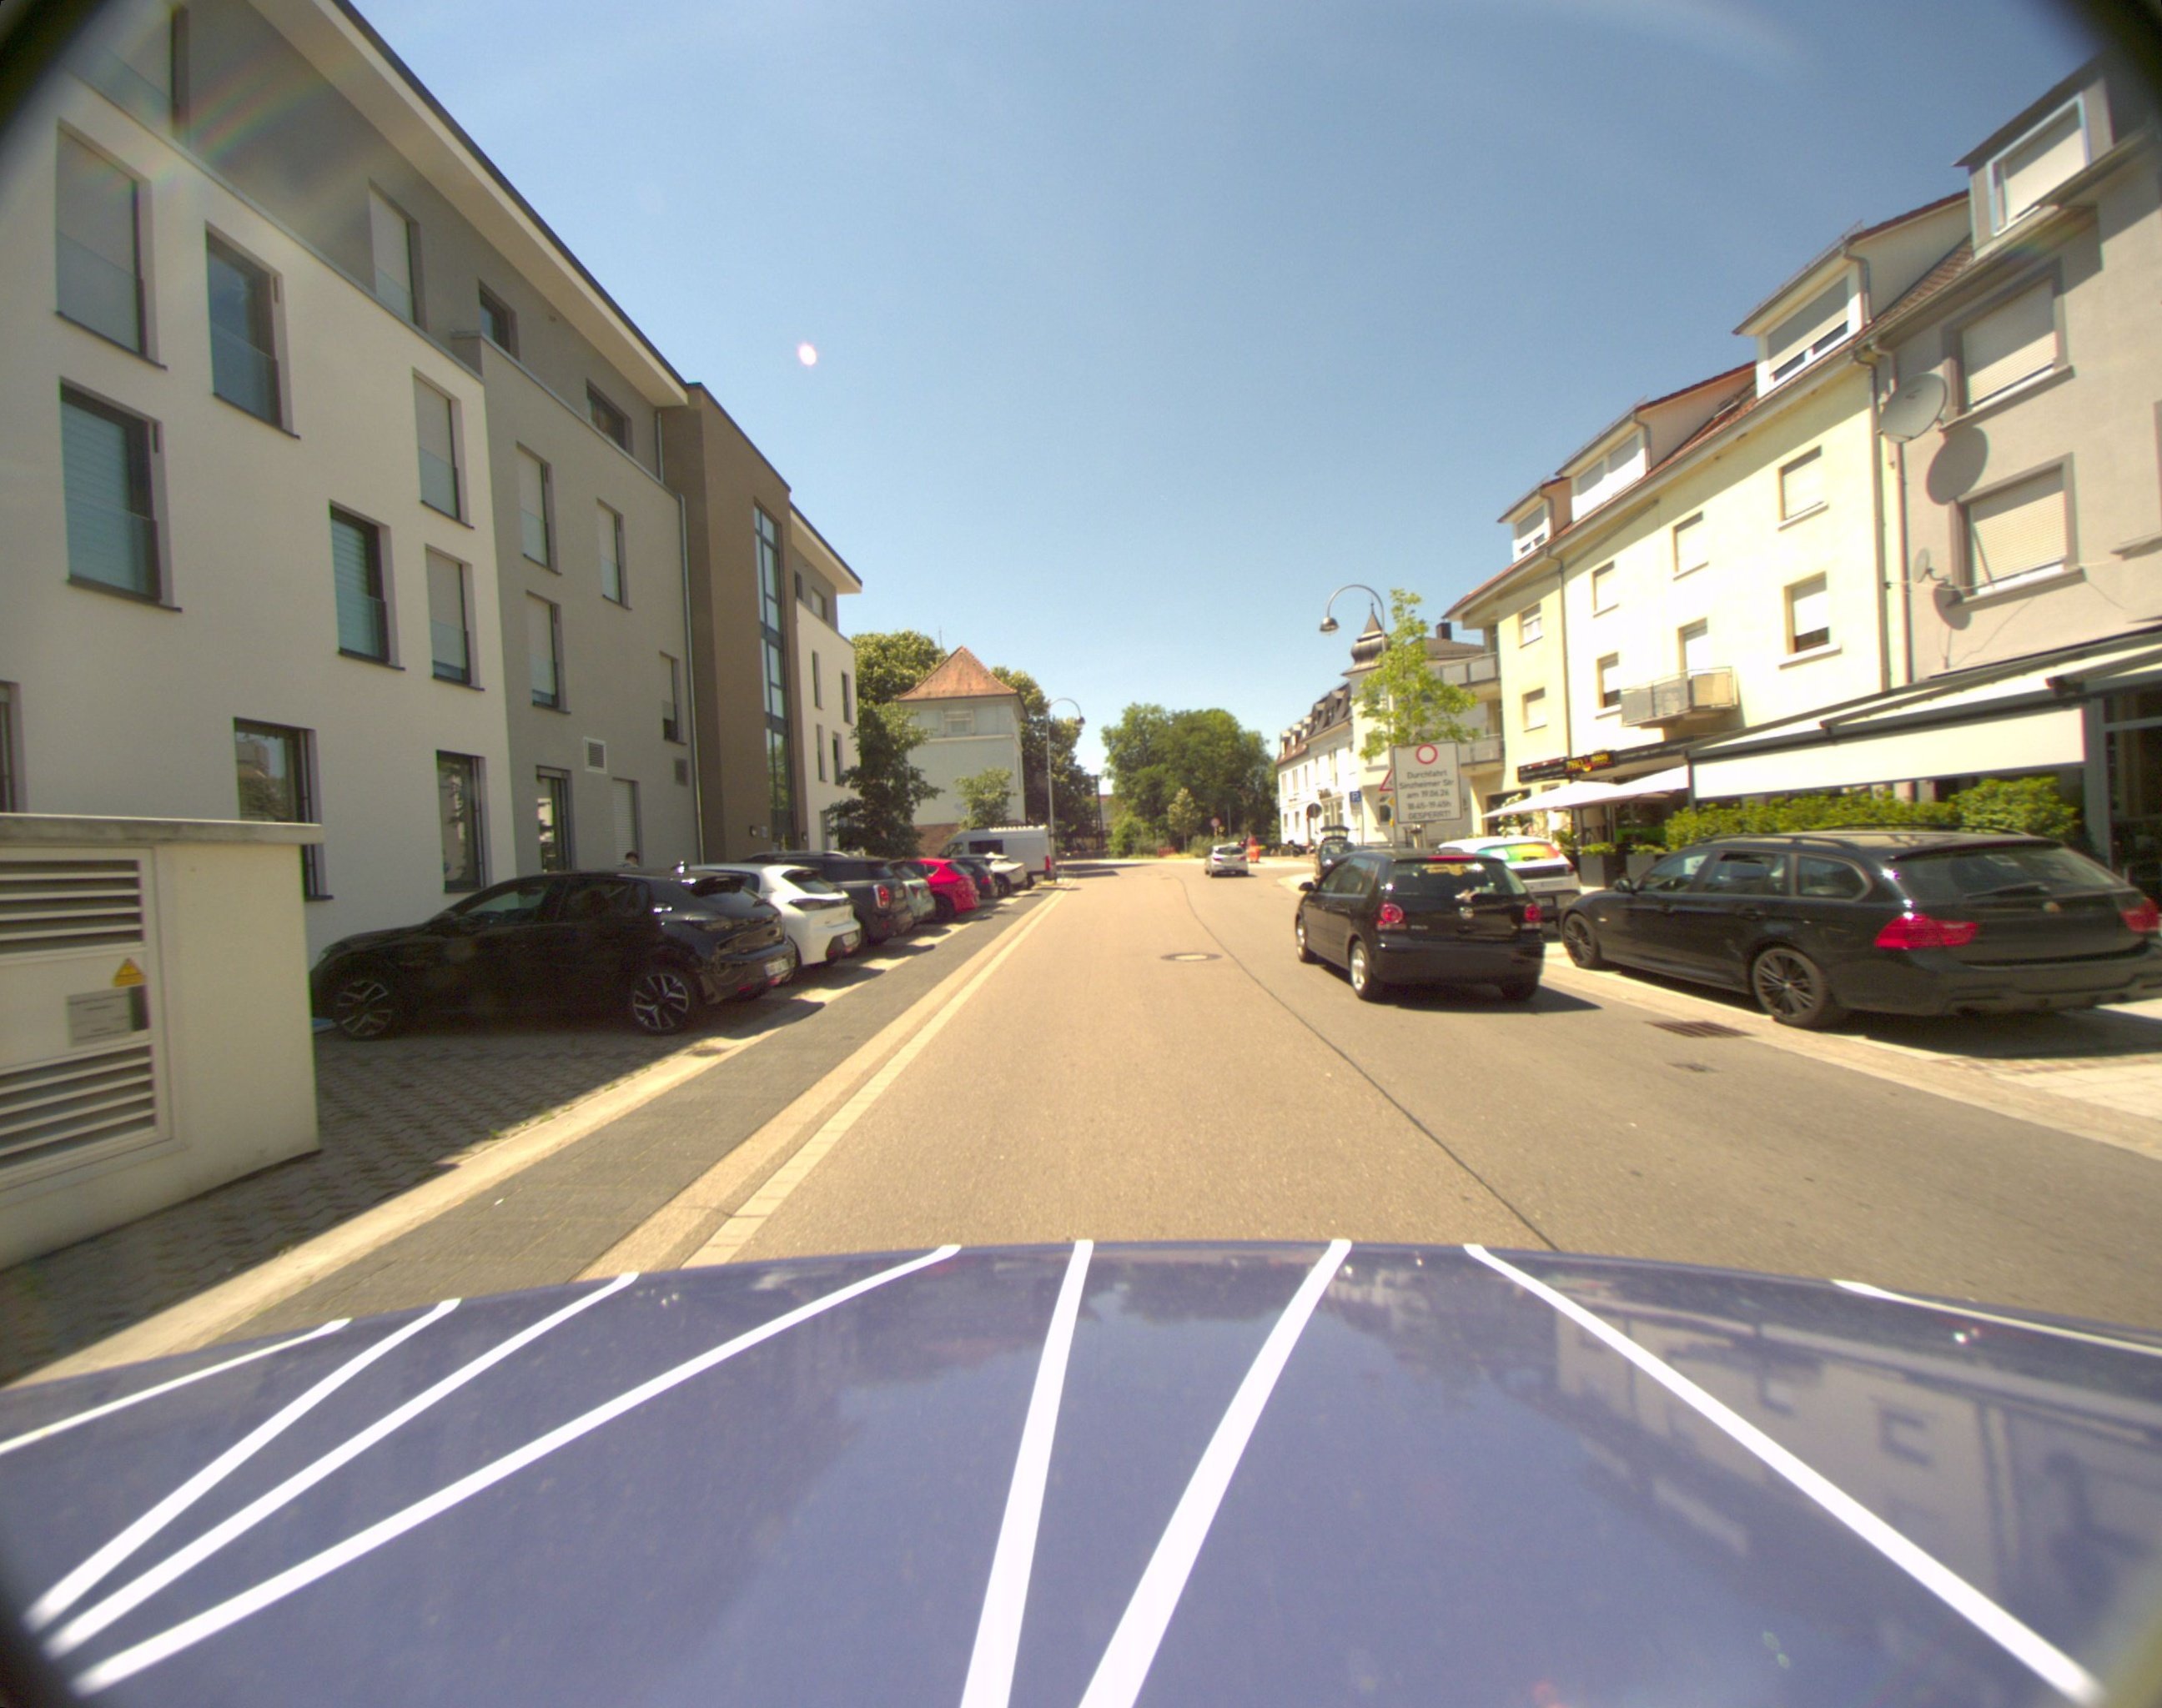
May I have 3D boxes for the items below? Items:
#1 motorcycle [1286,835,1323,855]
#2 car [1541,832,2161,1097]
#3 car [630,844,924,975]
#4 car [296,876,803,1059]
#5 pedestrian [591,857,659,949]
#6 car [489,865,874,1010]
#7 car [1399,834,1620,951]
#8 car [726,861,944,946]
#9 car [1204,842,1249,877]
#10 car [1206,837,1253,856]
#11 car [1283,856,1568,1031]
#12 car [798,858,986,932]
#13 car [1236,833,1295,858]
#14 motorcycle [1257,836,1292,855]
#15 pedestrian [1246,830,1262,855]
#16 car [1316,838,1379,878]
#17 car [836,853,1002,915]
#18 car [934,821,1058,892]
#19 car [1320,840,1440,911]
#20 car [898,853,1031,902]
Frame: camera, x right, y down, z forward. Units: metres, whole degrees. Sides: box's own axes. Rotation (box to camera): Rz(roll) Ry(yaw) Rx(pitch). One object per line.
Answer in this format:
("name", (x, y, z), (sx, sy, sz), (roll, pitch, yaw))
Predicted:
("motorcycle", (15.517, -0.615, 52.725), (2.322, 1.317, 0.726), (-2, 1, 4))
("car", (6.171, 0.606, 6.705), (1.758, 1.437, 4.449), (-5, 1, 5))
("car", (-4.609, 0.805, 11.985), (3.818, 1.776, 1.840), (-2, 1, 0))
("car", (-4.725, 0.975, 7.077), (3.665, 1.437, 1.535), (-1, 1, 3))
("pedestrian", (-8.770, 0.918, 14.656), (0.576, 1.674, 1.007), (-3, 1, 3))
("car", (-4.771, 0.960, 9.521), (3.818, 1.474, 1.778), (-2, 1, 0))
("car", (6.566, 0.503, 12.158), (1.684, 1.475, 3.770), (-4, 0, 7))
("car", (-4.636, 0.914, 14.670), (3.617, 1.454, 1.617), (-1, 1, 1))
("car", (6.858, 0.228, 36.120), (1.684, 1.475, 4.087), (-2, 1, 6))
("car", (13.364, -0.649, 68.341), (3.946, 1.527, 1.831), (-2, 1, -33))
("car", (3.454, 0.779, 8.433), (1.620, 1.445, 3.865), (-1, 0, 4))
("car", (-4.227, 0.894, 17.376), (3.817, 1.454, 1.652), (-2, 1, 1))
("car", (14.066, -0.622, 58.111), (4.077, 1.729, 1.815), (-2, 1, 7))
("motorcycle", (14.216, -0.605, 55.880), (2.322, 1.317, 0.726), (-2, 1, 4))
("pedestrian", (12.163, -0.795, 53.412), (0.758, 1.755, 0.802), (-2, 1, -8))
("car", (10.513, 0.151, 30.234), (1.900, 1.433, 3.779), (-1, 0, 12))
("car", (-4.566, 0.835, 21.869), (4.358, 1.542, 1.652), (-2, 1, -1))
("car", (-3.500, 0.118, 31.919), (4.866, 2.720, 1.851), (-2, 1, 2))
("car", (7.395, 0.460, 19.240), (1.684, 1.475, 4.341), (-4, 0, 7))
("car", (-4.067, 0.799, 27.069), (4.381, 1.520, 1.719), (-2, 1, 2))
